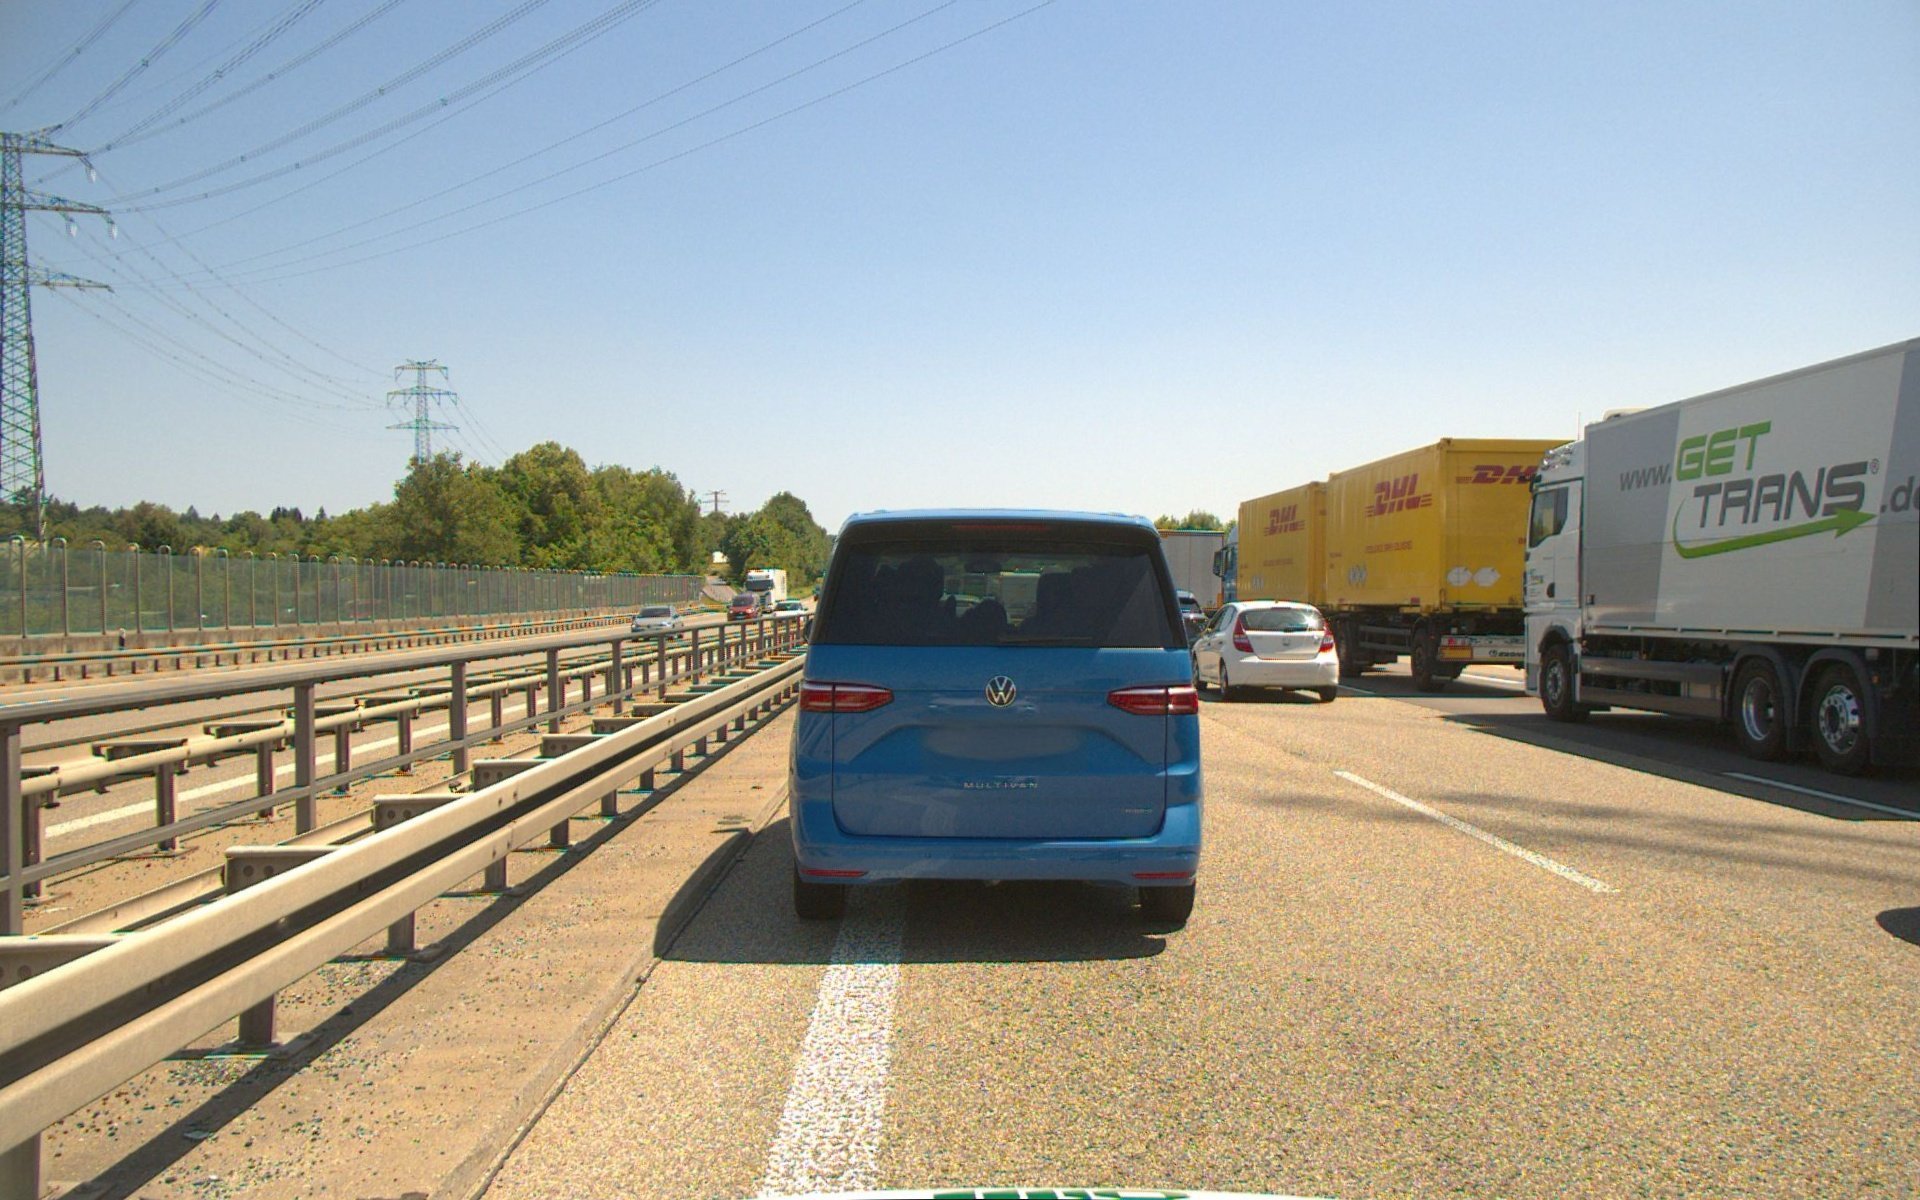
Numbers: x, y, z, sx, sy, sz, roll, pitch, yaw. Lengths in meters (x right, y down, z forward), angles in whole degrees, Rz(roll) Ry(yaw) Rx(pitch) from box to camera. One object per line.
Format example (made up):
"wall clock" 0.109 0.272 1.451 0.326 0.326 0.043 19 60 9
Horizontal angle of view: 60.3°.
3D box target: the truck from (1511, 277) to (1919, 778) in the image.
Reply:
"truck" 8.988 -0.531 17.205 2.794 4.003 10.607 1 0 -1

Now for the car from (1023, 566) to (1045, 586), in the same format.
"car" 6.927 -2.226 155.219 1.760 1.782 3.943 1 -1 0

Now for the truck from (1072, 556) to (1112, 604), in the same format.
"truck" 7.229 -1.074 90.883 1.761 2.492 4.503 1 -1 0

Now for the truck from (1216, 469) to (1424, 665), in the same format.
"truck" 8.503 -0.666 40.490 2.645 4.159 9.936 1 -1 -2

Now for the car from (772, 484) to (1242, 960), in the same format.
"car" 0.176 0.514 8.746 1.891 1.906 3.999 1 -1 -1

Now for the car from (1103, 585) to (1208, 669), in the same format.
"car" 4.222 0.582 36.297 1.778 1.708 3.931 1 -1 -1

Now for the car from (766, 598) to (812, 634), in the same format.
"car" -8.449 0.790 81.997 1.834 1.556 3.607 -5 0 -1

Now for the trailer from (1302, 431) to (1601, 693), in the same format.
"trailer" 8.827 -0.571 31.040 2.628 4.159 8.977 1 -1 -2

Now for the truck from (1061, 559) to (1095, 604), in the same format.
"truck" 7.115 -1.096 99.726 1.706 2.593 4.209 1 -1 0

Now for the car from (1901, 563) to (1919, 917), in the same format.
"car" 5.500 0.672 6.025 1.673 1.708 4.284 1 0 -1

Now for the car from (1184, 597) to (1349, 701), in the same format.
"car" 4.769 0.732 26.266 1.778 1.496 3.930 1 0 -2

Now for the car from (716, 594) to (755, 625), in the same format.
"car" -13.781 0.588 101.811 1.802 1.854 4.746 -1 -1 -1

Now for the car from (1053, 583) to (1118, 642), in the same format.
"car" 4.369 0.443 58.085 1.922 1.970 3.931 1 -1 -1

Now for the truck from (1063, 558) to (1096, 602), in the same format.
"truck" 7.591 -1.245 105.199 1.760 2.641 4.305 1 -1 0

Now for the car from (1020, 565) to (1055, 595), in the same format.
"car" 4.741 -1.215 101.549 1.880 1.736 3.999 1 -1 -1

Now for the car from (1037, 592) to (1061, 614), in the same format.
"car" 7.361 0.235 137.521 1.760 1.782 3.943 1 -1 0

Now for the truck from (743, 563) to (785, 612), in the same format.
"truck" -18.247 -1.129 154.074 2.869 4.368 6.857 -3 -1 0

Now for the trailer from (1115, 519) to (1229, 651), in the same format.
"trailer" 8.116 -0.481 64.867 2.964 4.692 10.923 1 -1 0

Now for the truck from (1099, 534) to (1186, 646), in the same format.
"truck" 8.091 -0.402 74.292 2.964 4.692 7.920 1 -1 0

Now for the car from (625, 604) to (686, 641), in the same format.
"car" -12.909 0.940 70.291 1.834 1.467 4.384 -2 0 -1
